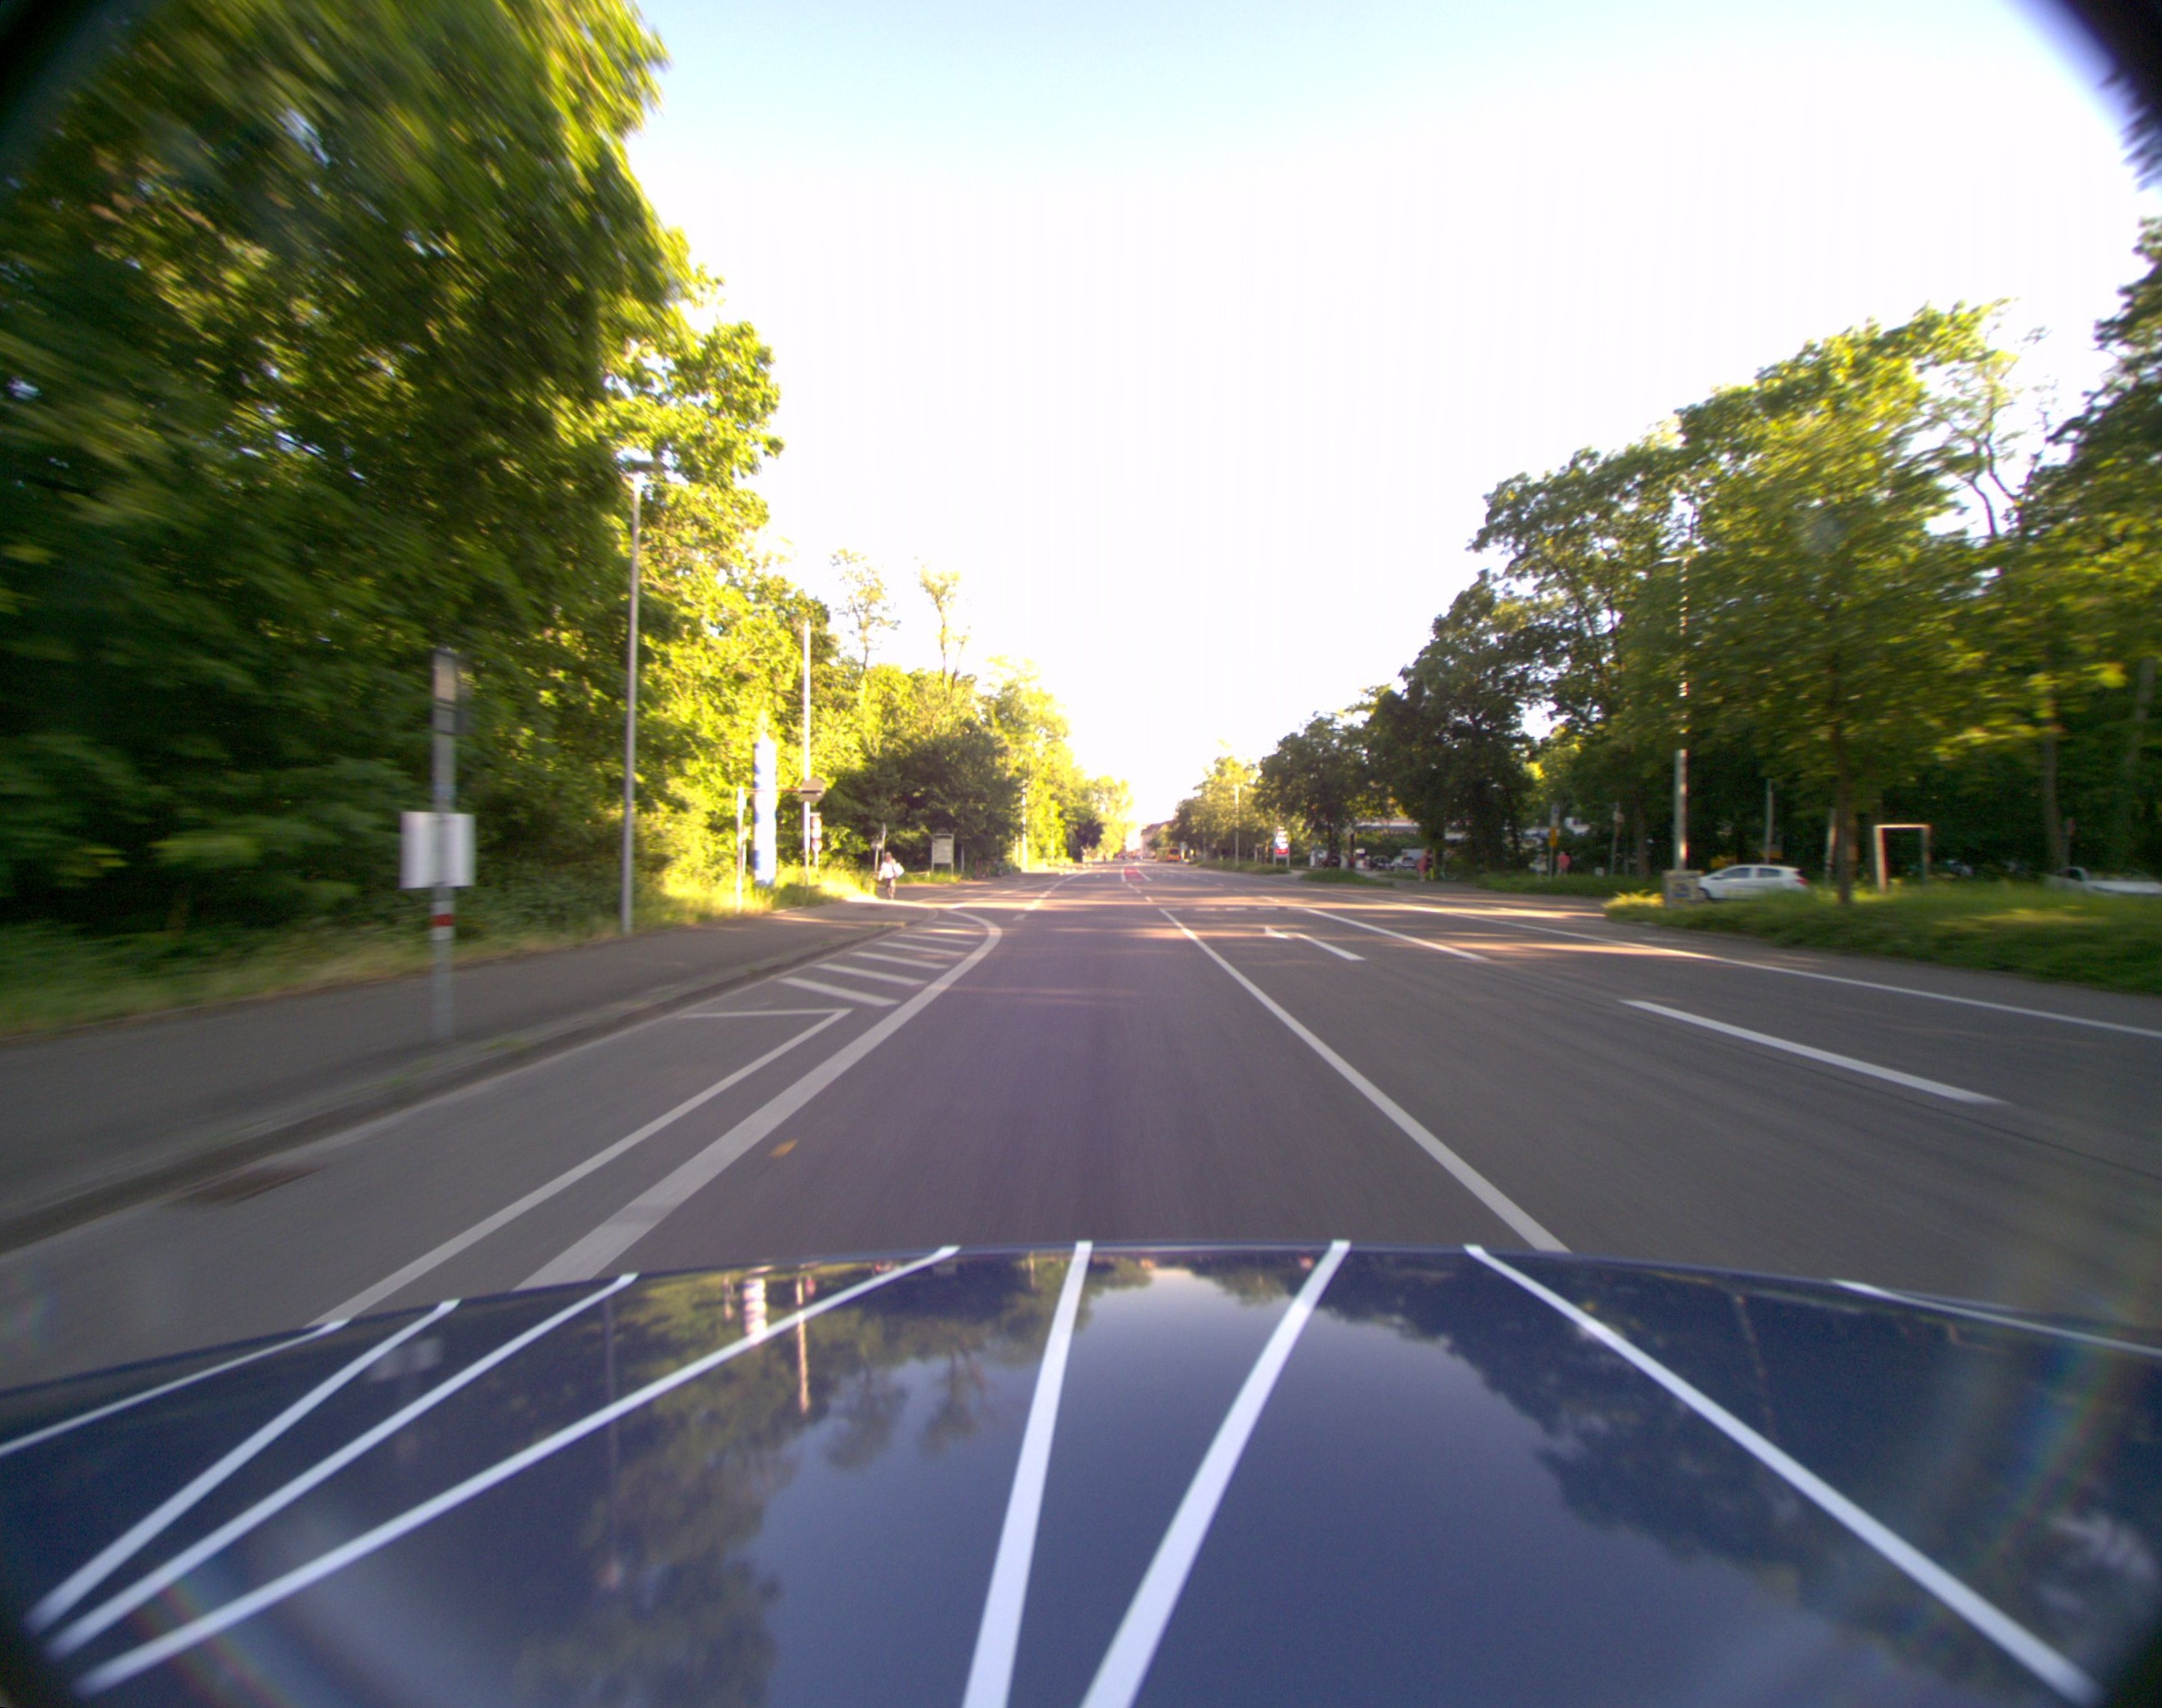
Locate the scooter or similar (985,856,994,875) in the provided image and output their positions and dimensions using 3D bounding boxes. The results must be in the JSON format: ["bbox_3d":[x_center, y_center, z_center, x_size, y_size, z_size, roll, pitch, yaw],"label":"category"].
[{"bbox_3d":[-5.727,0.706,47.658,0.386,1.177,1.103,0,1,2],"label":"scooter or similar"}]

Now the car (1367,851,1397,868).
[{"bbox_3d":[30.399,0.533,76.776,1.758,1.631,3.838,0,0,4],"label":"car"}]

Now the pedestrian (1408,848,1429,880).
[{"bbox_3d":[19.277,0.563,43.402,0.738,1.809,0.832,0,1,-35],"label":"pedestrian"}]

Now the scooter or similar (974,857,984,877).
[{"bbox_3d":[-5.989,0.750,44.758,0.386,1.177,1.188,0,1,2],"label":"scooter or similar"}]

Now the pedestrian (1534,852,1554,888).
[{"bbox_3d":[23.910,0.827,39.229,0.832,1.809,0.738,1,1,32],"label":"pedestrian"}]

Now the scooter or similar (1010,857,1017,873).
[{"bbox_3d":[-5.008,0.785,56.708,0.386,1.177,1.103,0,1,2],"label":"scooter or similar"}]

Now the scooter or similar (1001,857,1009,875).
[{"bbox_3d":[-4.956,0.773,49.611,0.386,1.177,1.103,0,1,2],"label":"scooter or similar"}]

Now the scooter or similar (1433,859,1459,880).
[{"bbox_3d":[20.948,0.887,43.625,0.465,1.125,1.342,0,1,-23],"label":"scooter or similar"}]

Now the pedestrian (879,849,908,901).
[{"bbox_3d":[-6.562,0.724,26.590,0.809,1.789,0.734,0,1,1],"label":"pedestrian"}]

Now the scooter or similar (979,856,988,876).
[{"bbox_3d":[-5.962,0.730,46.467,0.386,1.177,1.103,0,1,2],"label":"scooter or similar"}]

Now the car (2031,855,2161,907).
[{"bbox_3d":[35.561,0.864,26.473,1.825,1.644,4.300,1,1,33],"label":"car"}]

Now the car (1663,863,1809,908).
[{"bbox_3d":[24.214,1.117,28.313,3.932,1.517,1.835,1,1,35],"label":"car"}]

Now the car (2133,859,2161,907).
[{"bbox_3d":[37.841,1.012,25.329,1.825,1.644,4.300,1,1,33],"label":"car"}]

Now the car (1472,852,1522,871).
[{"bbox_3d":[37.823,0.657,69.174,3.609,1.631,1.760,0,1,2],"label":"car"}]

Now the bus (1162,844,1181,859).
[{"bbox_3d":[20.979,-0.517,176.716,3.038,3.388,9.478,0,0,-3],"label":"bus"}]

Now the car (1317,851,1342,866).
[{"bbox_3d":[26.638,0.461,81.609,1.758,1.631,3.613,0,0,4],"label":"car"}]

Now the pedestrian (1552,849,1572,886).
[{"bbox_3d":[24.153,0.658,38.141,0.832,1.809,0.738,1,1,32],"label":"pedestrian"}]

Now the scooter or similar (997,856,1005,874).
[{"bbox_3d":[-5.399,0.761,51.188,0.386,1.177,1.103,0,1,2],"label":"scooter or similar"}]
